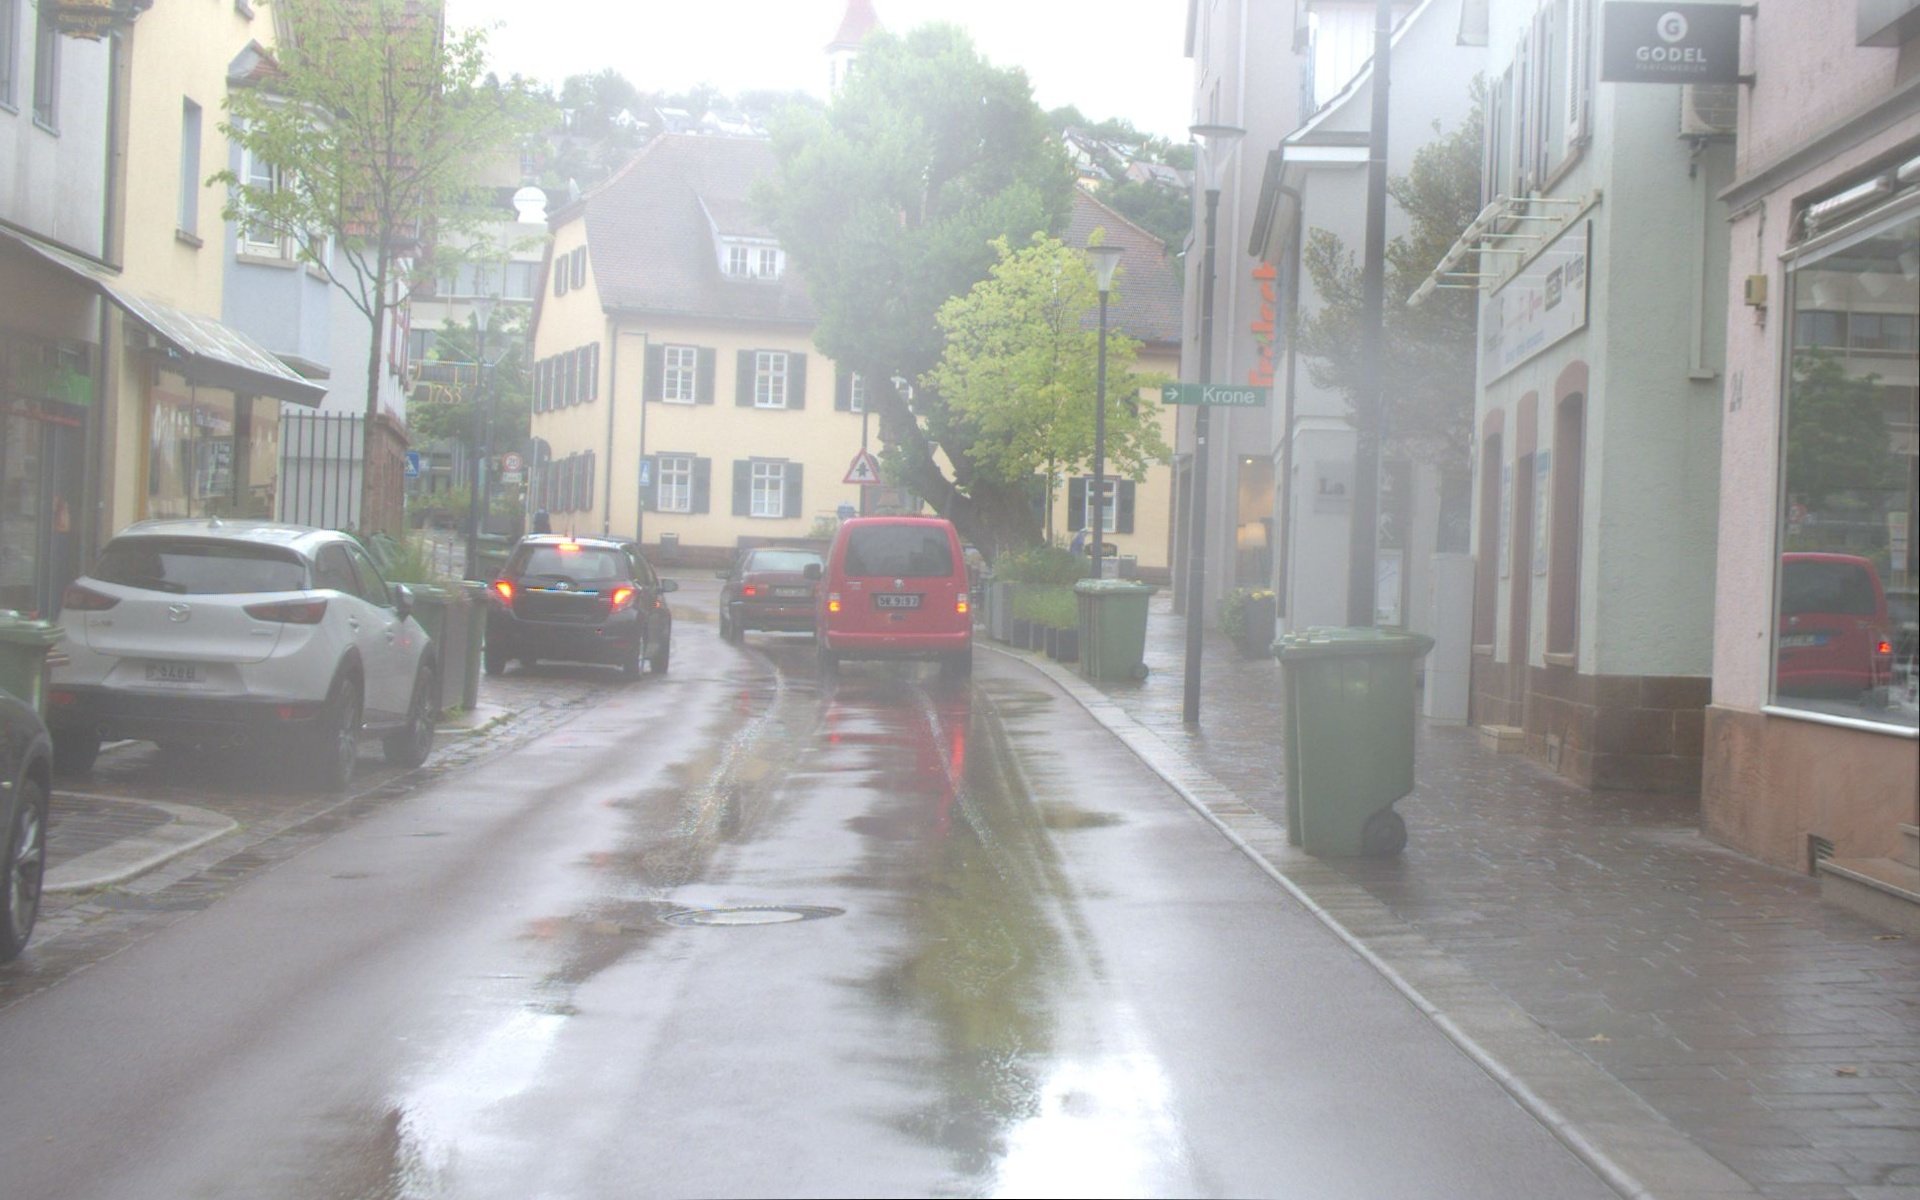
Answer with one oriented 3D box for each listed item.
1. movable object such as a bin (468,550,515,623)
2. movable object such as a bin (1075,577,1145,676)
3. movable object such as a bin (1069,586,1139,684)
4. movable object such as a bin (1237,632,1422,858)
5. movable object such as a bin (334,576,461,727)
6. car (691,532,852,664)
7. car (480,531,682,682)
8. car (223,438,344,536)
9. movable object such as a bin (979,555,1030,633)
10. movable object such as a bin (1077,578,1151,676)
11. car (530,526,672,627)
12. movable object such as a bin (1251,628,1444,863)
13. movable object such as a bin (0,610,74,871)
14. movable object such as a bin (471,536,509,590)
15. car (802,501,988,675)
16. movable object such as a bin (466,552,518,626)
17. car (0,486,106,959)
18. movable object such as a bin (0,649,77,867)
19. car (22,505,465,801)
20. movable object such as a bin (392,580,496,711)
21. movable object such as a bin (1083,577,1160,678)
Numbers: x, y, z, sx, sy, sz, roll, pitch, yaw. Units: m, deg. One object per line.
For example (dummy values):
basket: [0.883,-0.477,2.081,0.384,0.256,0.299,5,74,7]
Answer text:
movable object such as a bin: [-7.408,-0.214,54.336,0.659,1.106,0.616,3,-1,-8]
movable object such as a bin: [1.719,0.306,39.479,0.729,1.087,0.521,3,-1,1]
movable object such as a bin: [1.679,0.409,40.086,0.735,1.094,0.611,3,-1,-1]
movable object such as a bin: [1.839,0.716,17.168,0.796,1.077,0.583,2,0,-3]
movable object such as a bin: [-4.302,0.386,26.332,0.786,1.081,0.693,4,2,1]
car: [-2.865,-0.020,51.479,1.993,1.793,4.001,3,-1,-8]
car: [-4.101,0.027,37.691,1.692,1.438,3.885,3,2,0]
car: [-20.042,-3.292,101.570,2.299,2.593,6.960,4,-1,-20]
movable object such as a bin: [0.681,-0.088,52.713,0.631,1.146,0.580,3,-1,-8]
movable object such as a bin: [1.741,0.305,38.880,0.754,1.060,0.600,3,-1,1]
car: [-6.099,-0.426,58.077,1.787,1.490,4.002,3,1,-14]
movable object such as a bin: [1.850,0.689,16.496,0.792,1.077,0.615,2,0,-3]
movable object such as a bin: [-4.255,0.575,14.661,0.769,1.078,0.676,3,-1,-5]
movable object such as a bin: [-10.027,-0.786,73.299,0.714,1.102,0.600,3,-1,-10]
car: [-0.815,-0.188,40.442,1.894,1.805,4.001,4,2,-4]
movable object such as a bin: [-7.311,-0.172,53.711,0.725,1.106,0.597,3,-1,-8]
car: [-3.973,0.392,10.288,1.780,1.533,4.291,4,2,-2]
movable object such as a bin: [-4.315,0.689,15.316,0.608,0.935,0.499,3,-1,-4]
car: [-4.283,0.279,21.172,1.692,1.533,4.120,4,0,1]
movable object such as a bin: [-4.336,0.383,28.924,0.709,1.049,0.704,3,-1,1]
movable object such as a bin: [1.792,0.306,38.239,0.768,1.076,0.599,3,-1,1]
